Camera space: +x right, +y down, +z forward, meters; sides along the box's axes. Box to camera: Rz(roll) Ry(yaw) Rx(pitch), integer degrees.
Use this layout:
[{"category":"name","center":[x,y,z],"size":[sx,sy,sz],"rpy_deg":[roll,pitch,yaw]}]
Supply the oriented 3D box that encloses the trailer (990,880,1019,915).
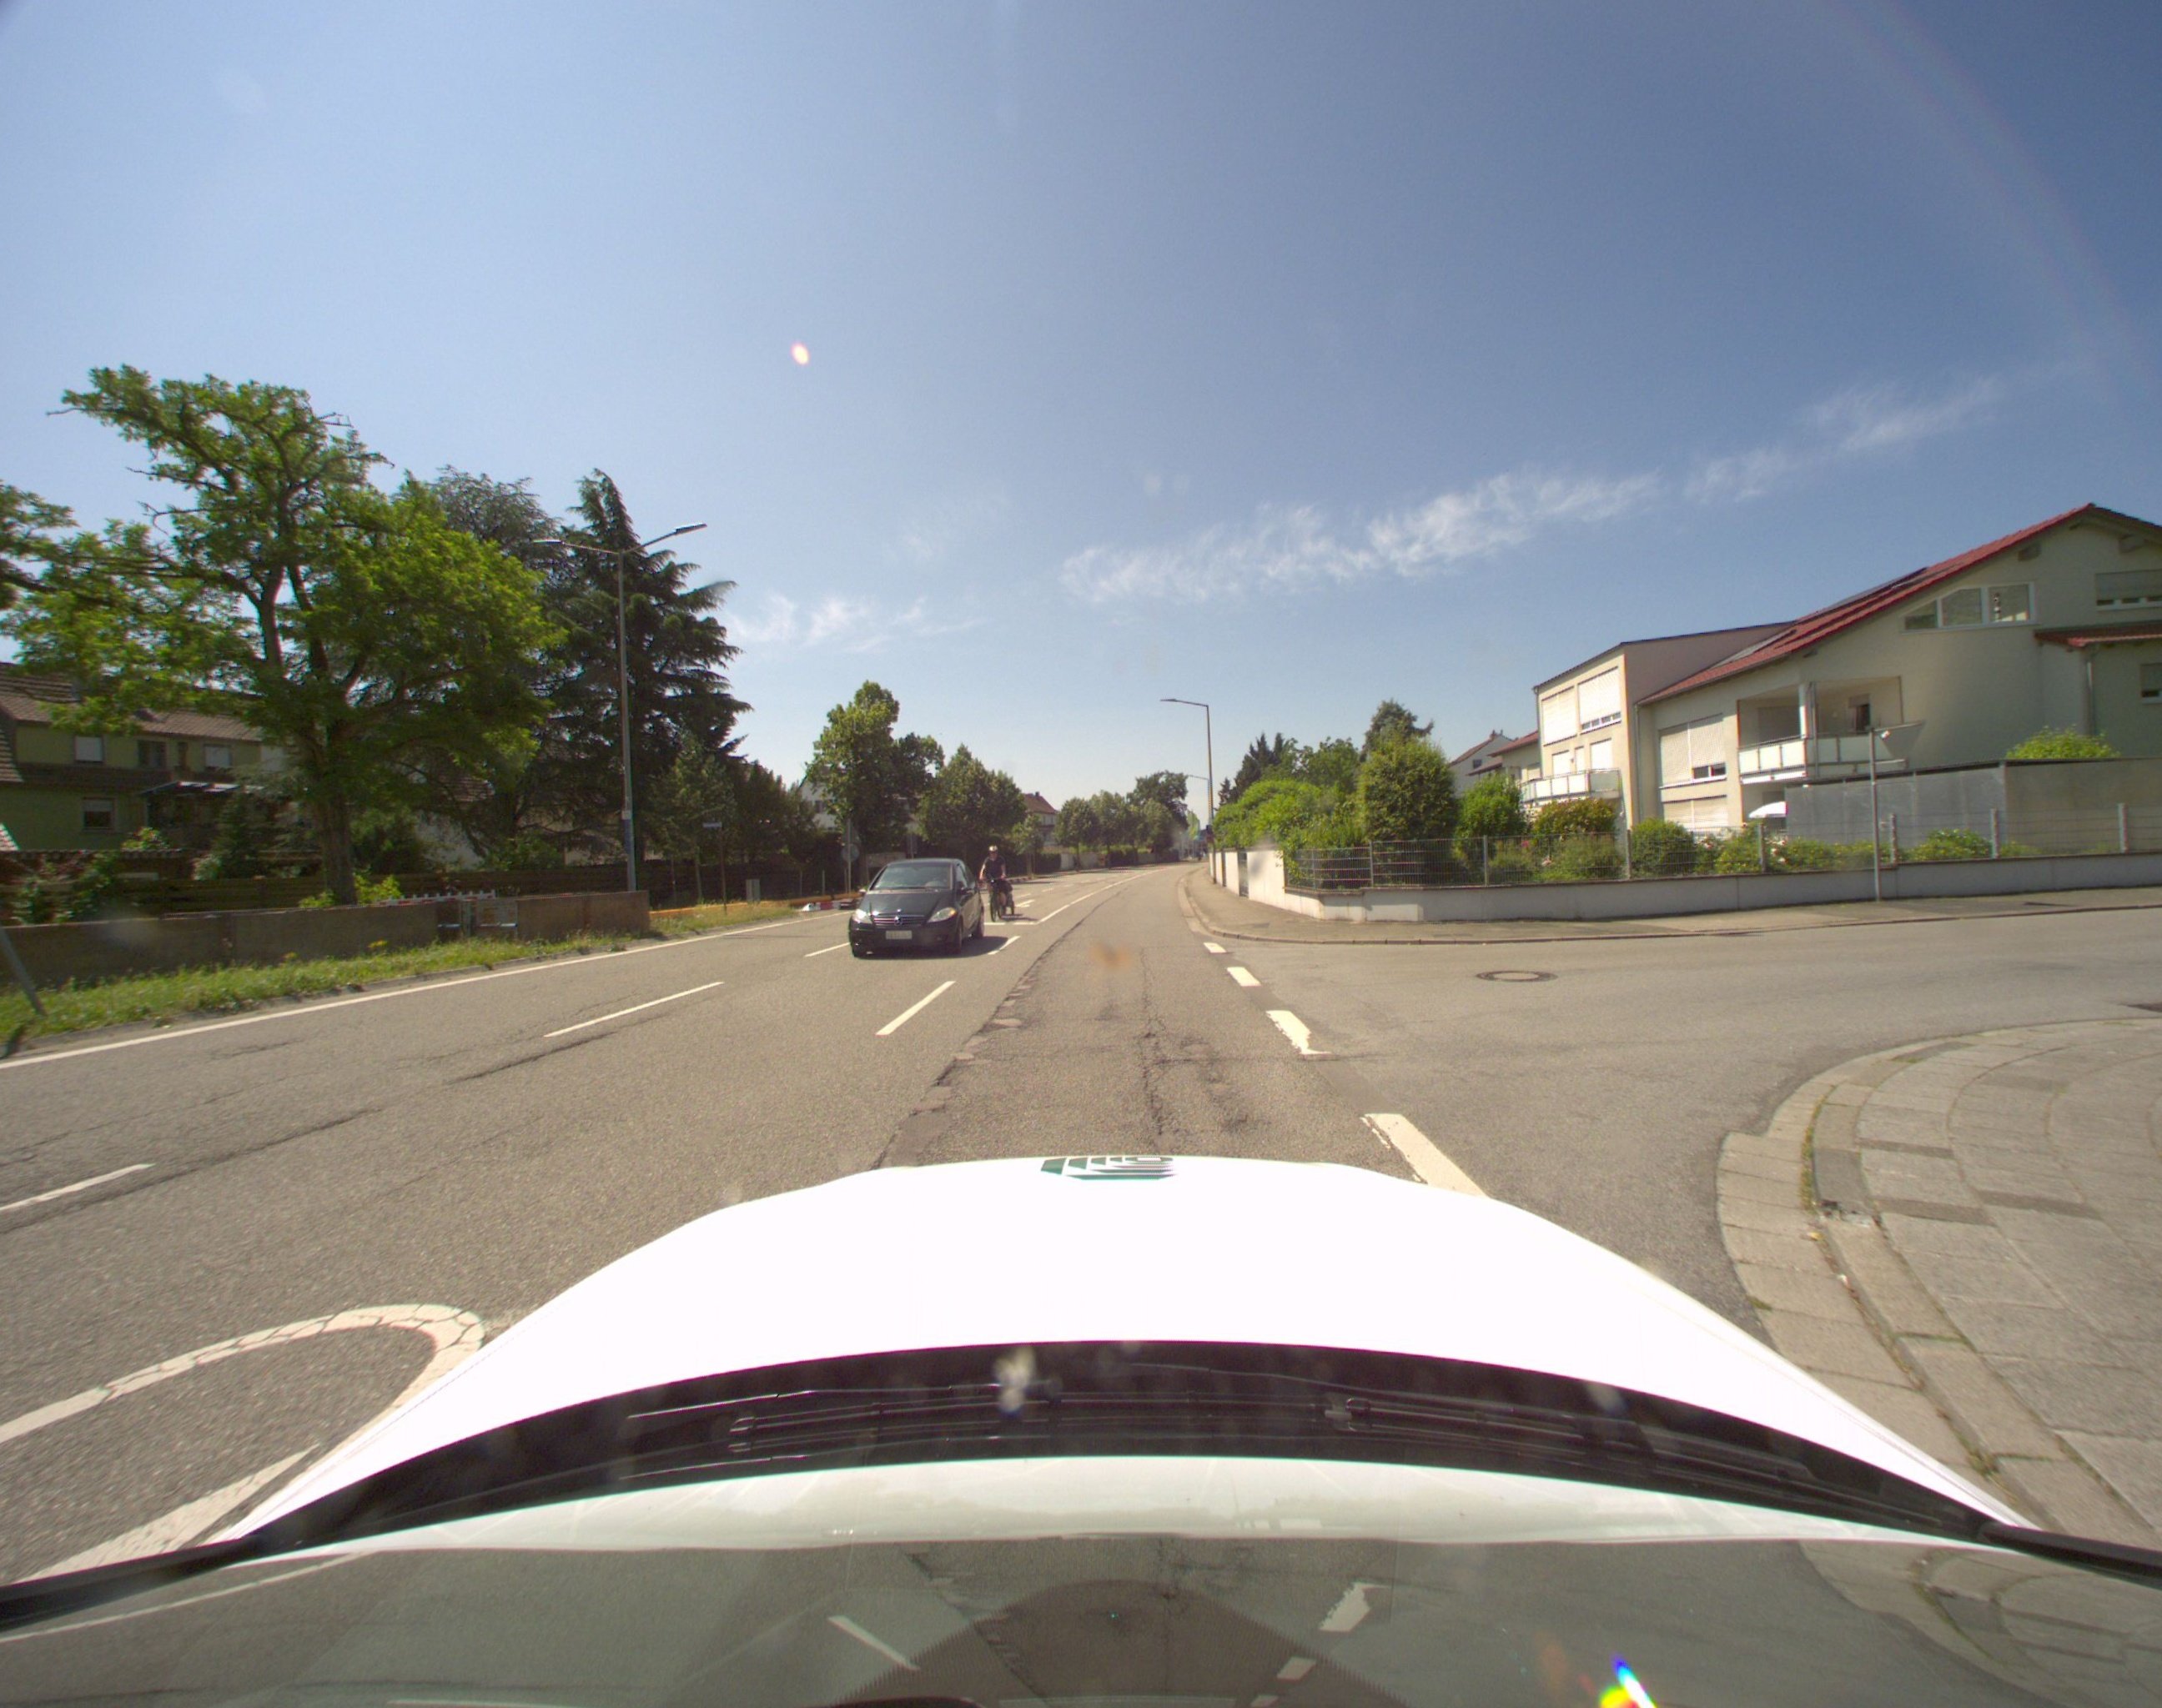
[{"category":"trailer","center":[-2.056,1.169,22.056],"size":[0.568,0.856,1.133],"rpy_deg":[-3,-1,4]}]

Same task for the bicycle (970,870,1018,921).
[{"category":"bicycle","center":[-2.158,1.019,20.496],"size":[0.846,1.166,1.979],"rpy_deg":[-2,0,4]}]

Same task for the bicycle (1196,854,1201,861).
[{"category":"bicycle","center":[20.398,0.548,141.694],"size":[0.627,1.180,1.824],"rpy_deg":[-3,0,16]}]

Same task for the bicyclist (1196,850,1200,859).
[{"category":"bicyclist","center":[20.353,0.069,141.614],"size":[0.623,1.408,0.679],"rpy_deg":[-3,0,16]}]

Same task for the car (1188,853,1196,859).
[{"category":"car","center":[29.700,0.600,217.389],"size":[1.604,1.420,3.728],"rpy_deg":[-4,-1,16]}]

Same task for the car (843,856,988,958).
[{"category":"car","center":[-2.770,0.828,14.453],"size":[1.719,1.532,3.830],"rpy_deg":[-1,0,1]}]

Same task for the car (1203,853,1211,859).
[{"category":"car","center":[33.473,0.443,216.699],"size":[1.604,1.420,3.728],"rpy_deg":[-4,-1,16]}]

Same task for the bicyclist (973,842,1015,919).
[{"category":"bicyclist","center":[-2.178,0.663,20.474],"size":[0.842,1.865,0.977],"rpy_deg":[-2,-1,3]}]
